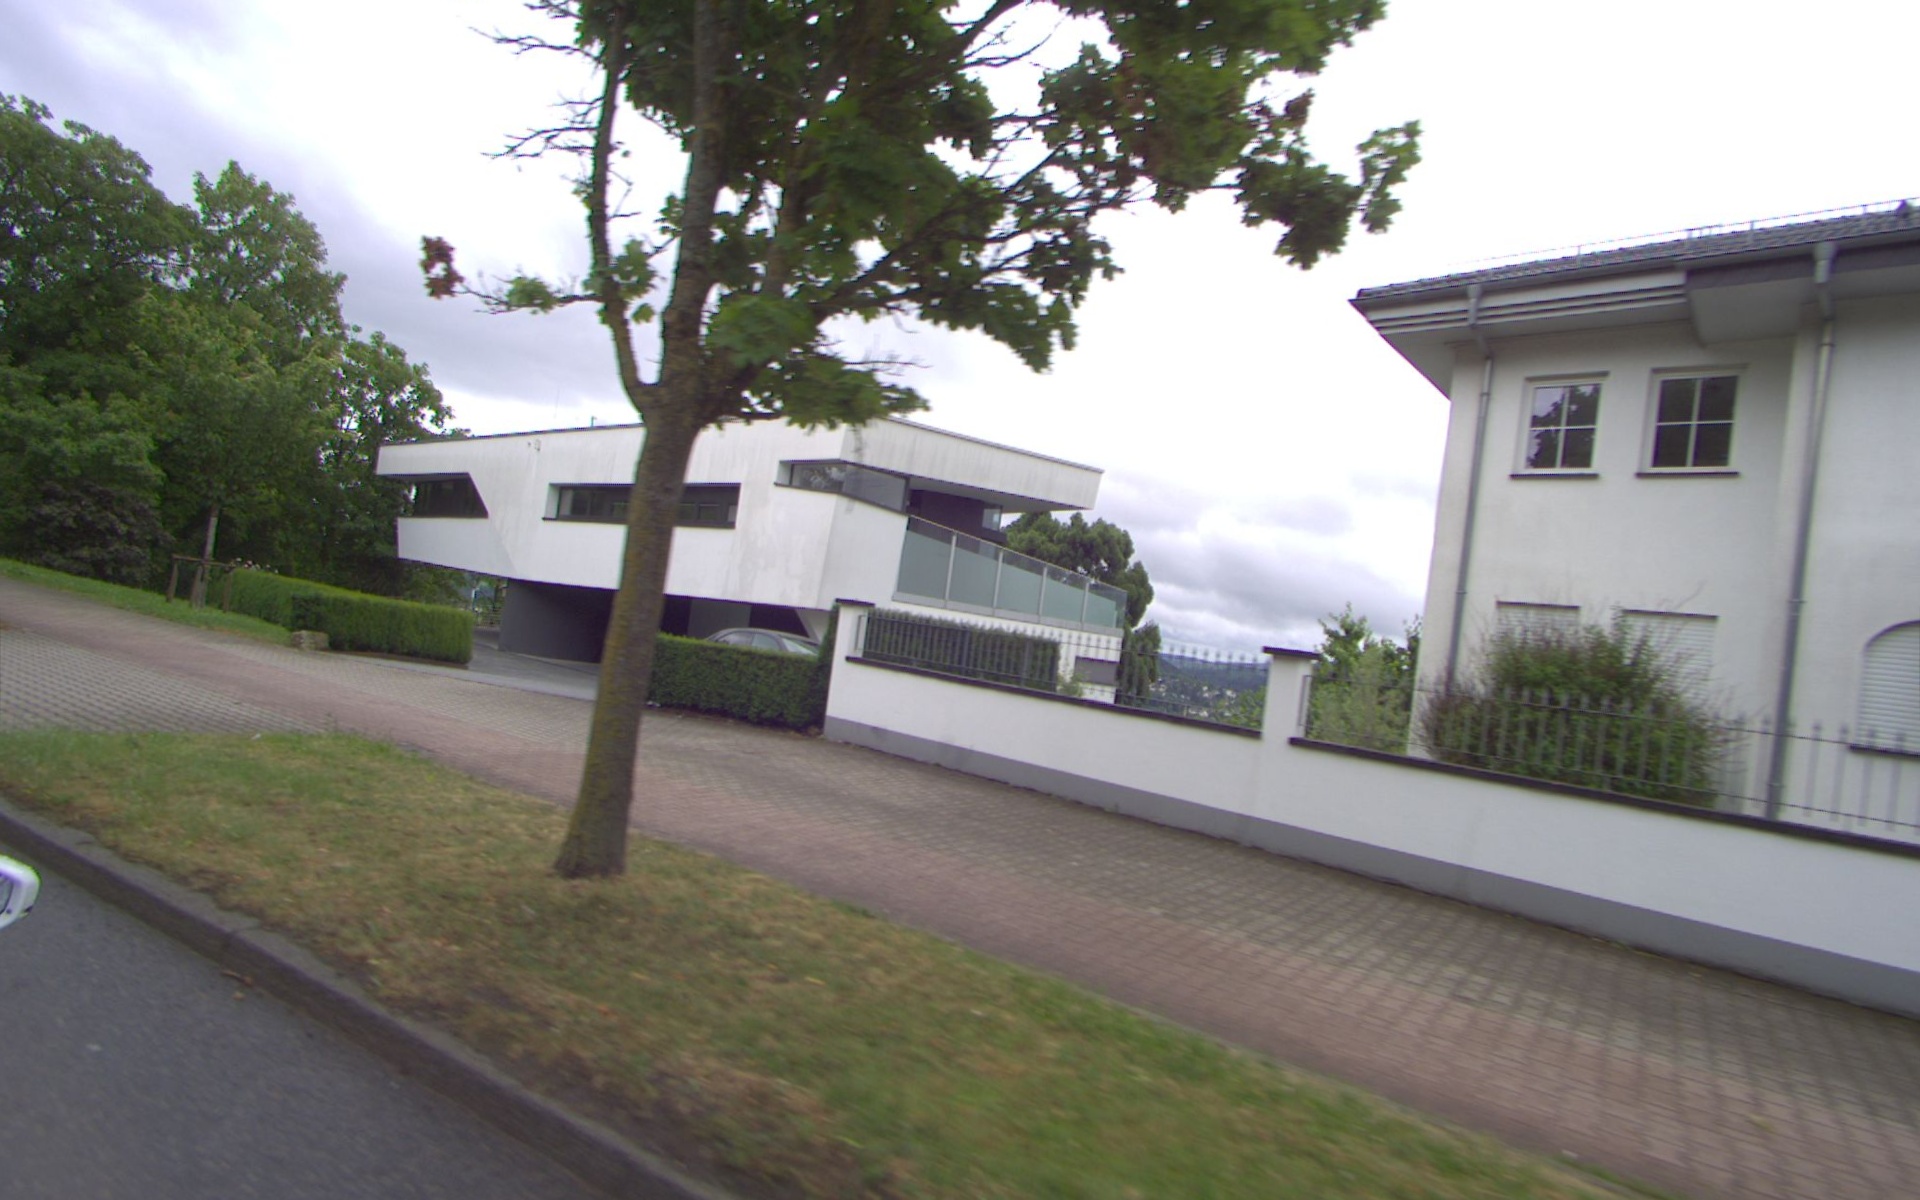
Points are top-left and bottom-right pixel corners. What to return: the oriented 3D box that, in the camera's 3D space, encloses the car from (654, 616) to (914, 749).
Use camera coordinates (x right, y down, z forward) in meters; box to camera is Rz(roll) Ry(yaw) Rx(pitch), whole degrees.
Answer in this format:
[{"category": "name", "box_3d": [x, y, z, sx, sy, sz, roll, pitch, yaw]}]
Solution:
[{"category": "car", "box_3d": [-3.129, 1.379, 17.380, 4.399, 1.566, 1.922, 5, -5, 42]}]
